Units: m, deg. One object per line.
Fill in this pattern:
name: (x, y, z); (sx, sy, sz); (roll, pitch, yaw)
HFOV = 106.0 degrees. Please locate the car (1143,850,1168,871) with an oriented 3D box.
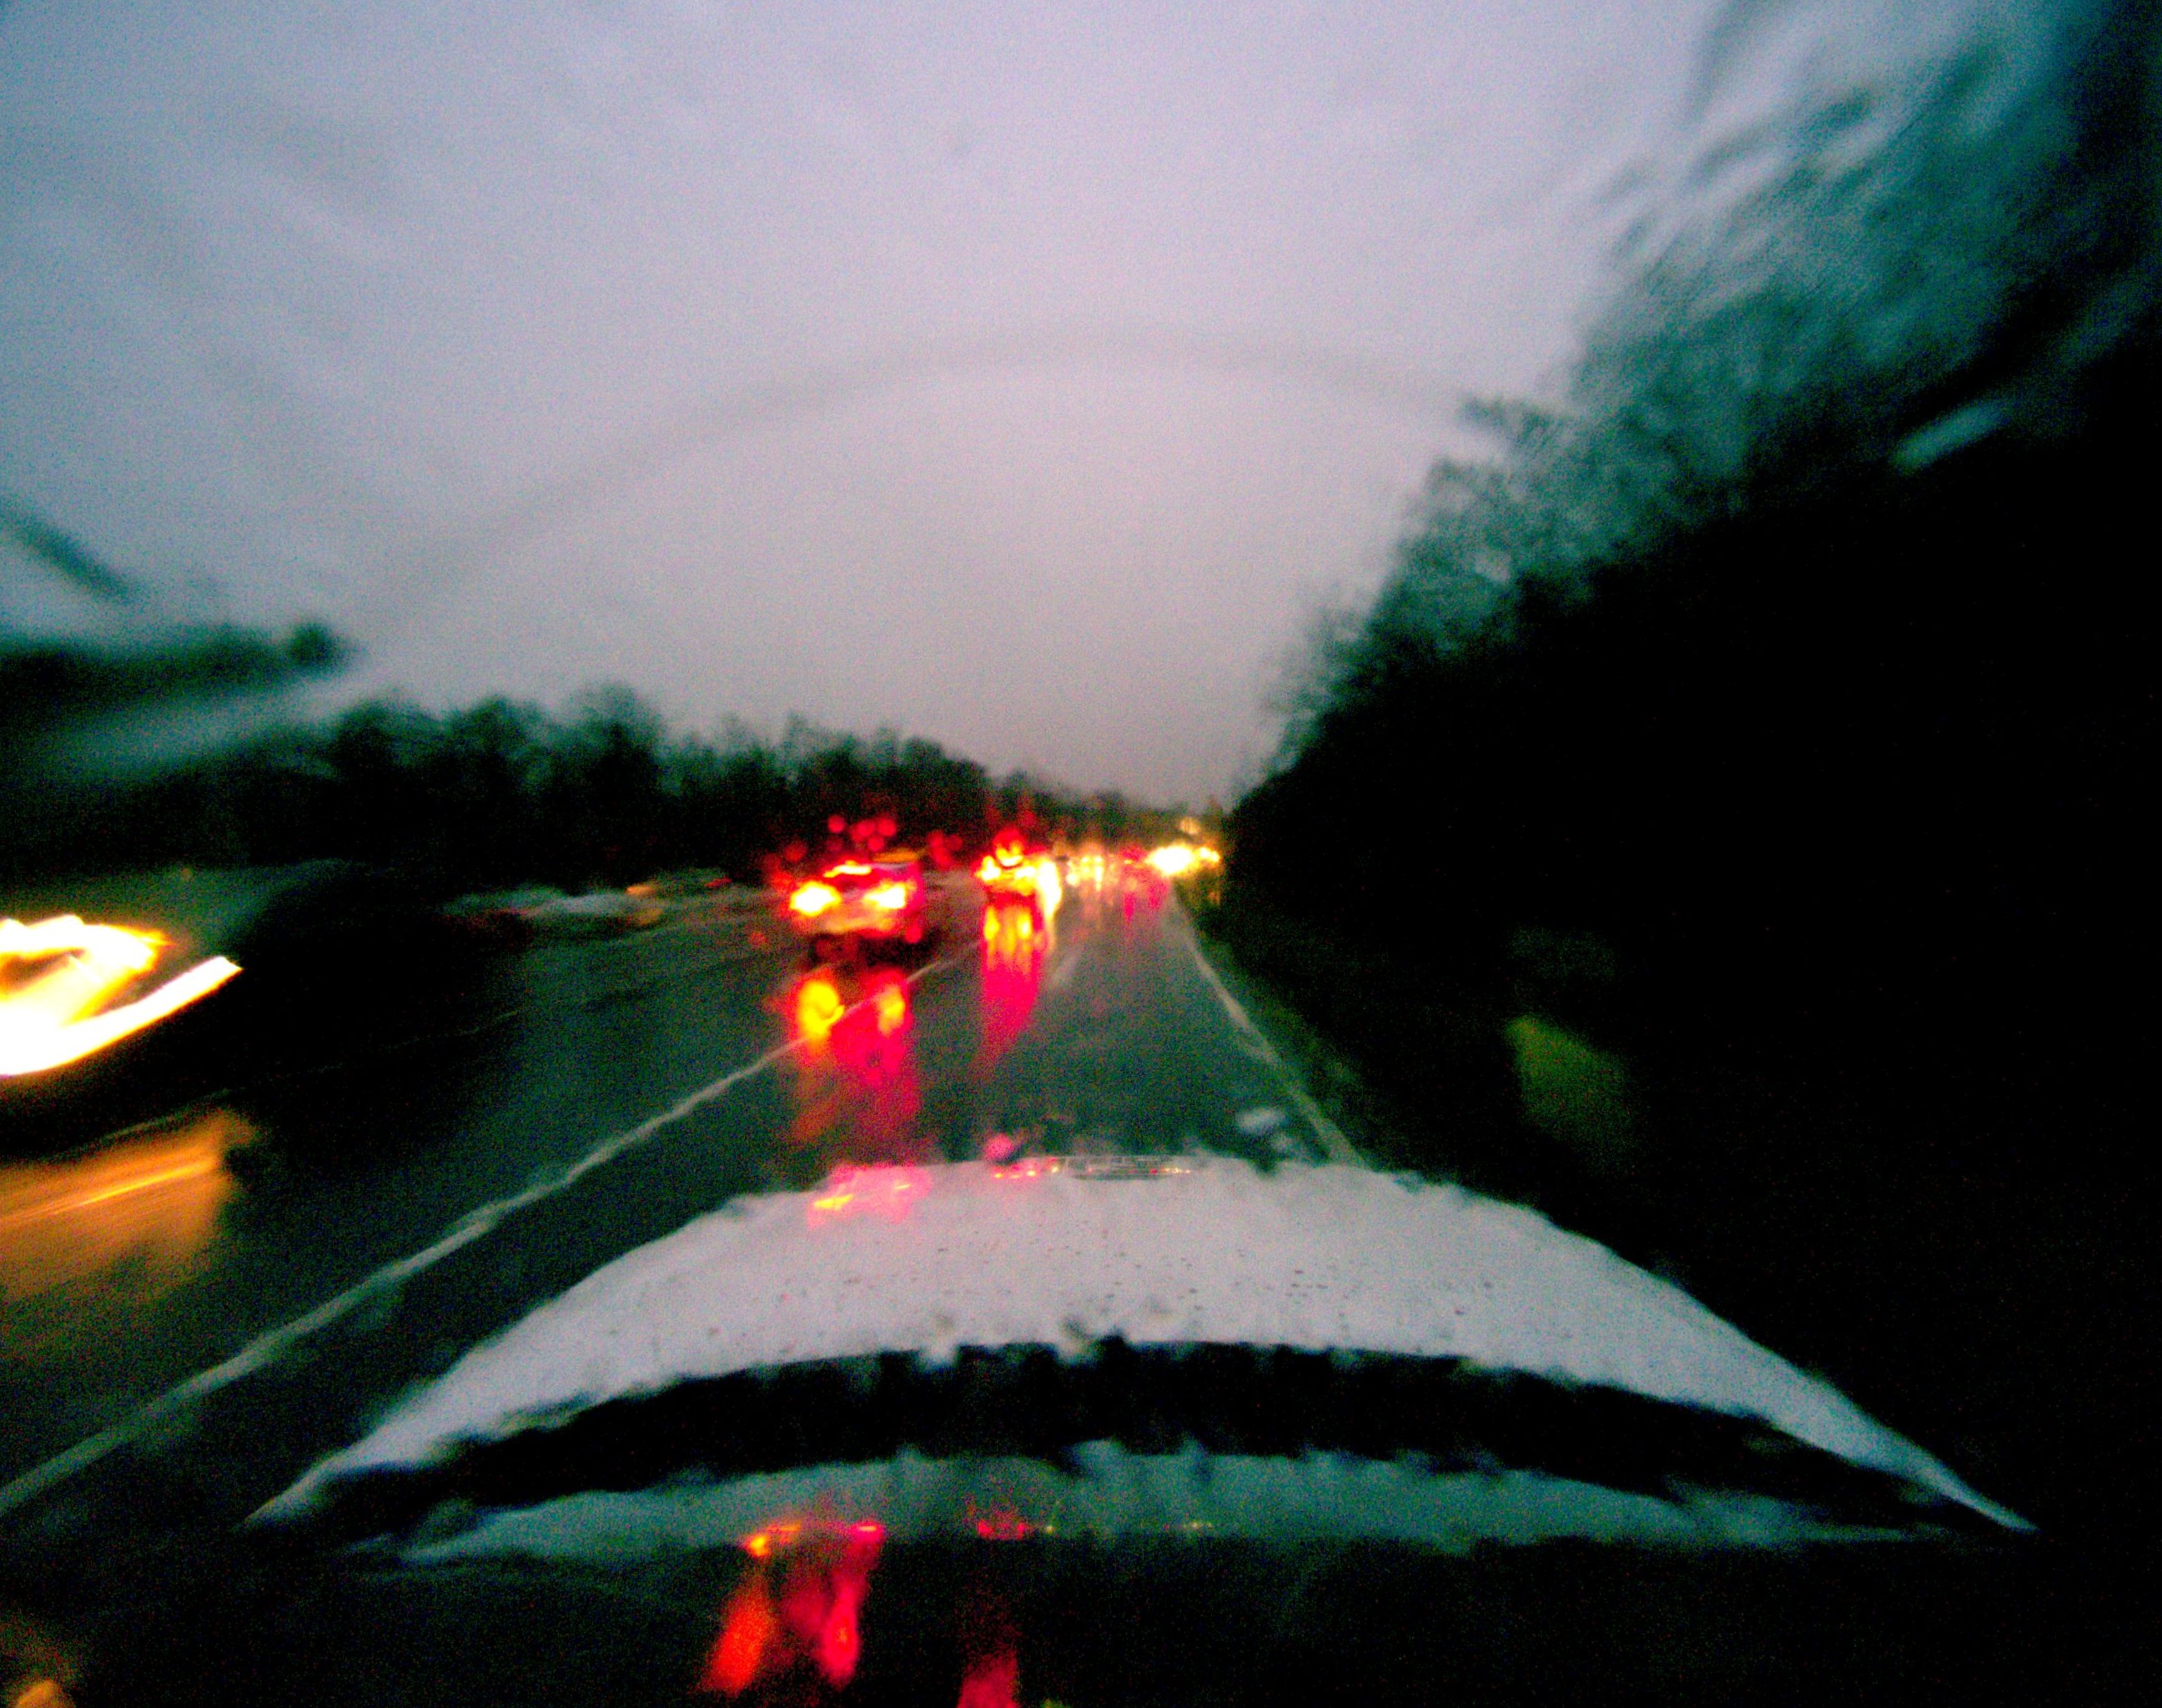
car: (6.337, 0.525, 69.174); (1.668, 1.675, 4.110); (-1, 0, 11)

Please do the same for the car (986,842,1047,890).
car: (-2.298, 0.403, 30.104); (1.706, 1.627, 4.220); (0, 0, 3)

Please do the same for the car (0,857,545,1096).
car: (-7.267, 0.819, 7.520); (1.639, 1.556, 4.382); (0, -1, 1)

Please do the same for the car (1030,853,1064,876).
car: (-2.425, 0.716, 59.146); (1.814, 1.616, 4.579); (0, 0, 5)

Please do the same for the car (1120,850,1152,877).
car: (3.113, 0.508, 45.618); (1.670, 1.389, 4.105); (-1, 0, 6)

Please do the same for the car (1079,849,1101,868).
car: (0.974, 0.465, 85.573); (1.828, 1.970, 4.366); (1, 0, 7)

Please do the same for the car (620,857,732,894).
car: (-20.977, 1.138, 42.299); (4.835, 1.756, 1.934); (3, -1, -41)

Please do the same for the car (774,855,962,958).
car: (-3.627, 0.828, 14.867); (1.996, 1.556, 4.520); (1, 0, 3)
